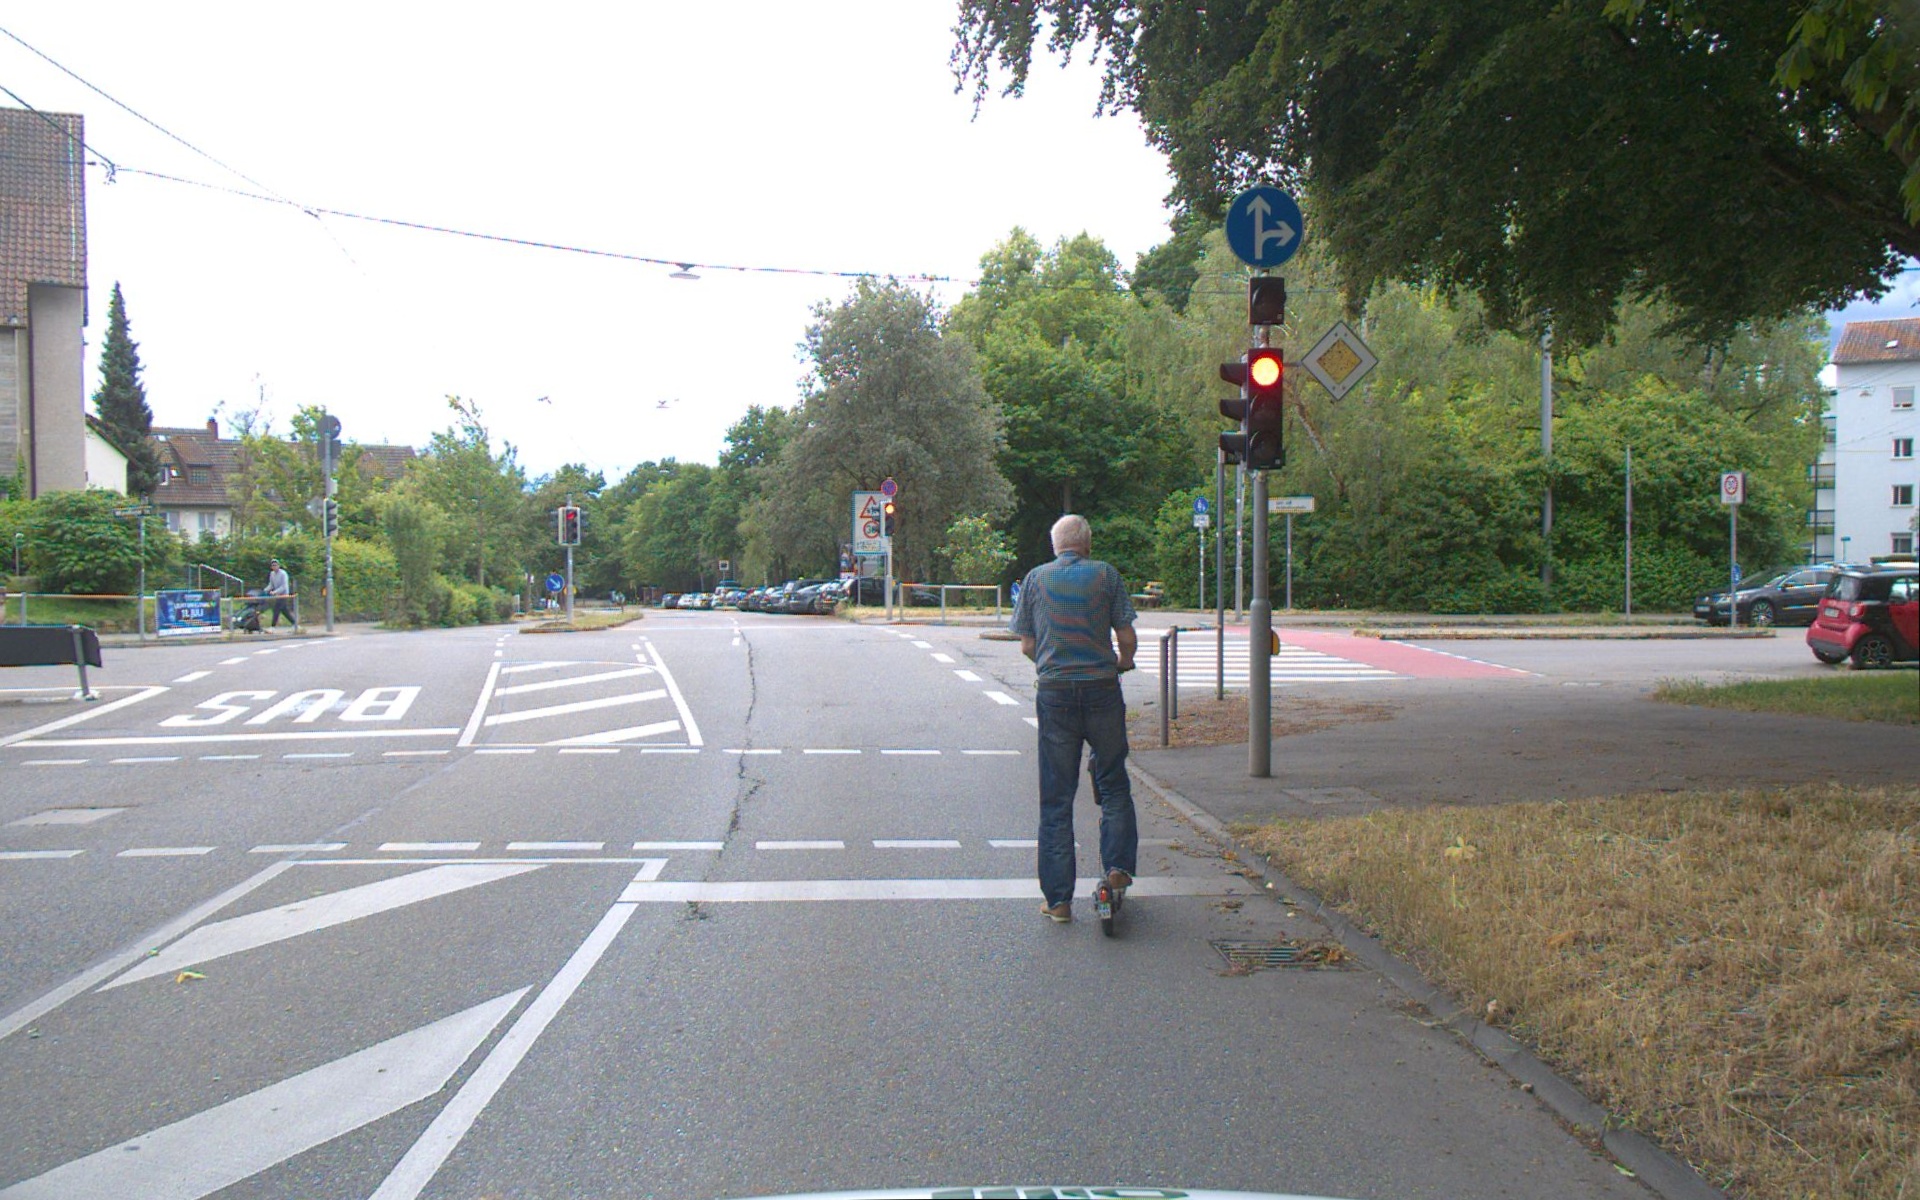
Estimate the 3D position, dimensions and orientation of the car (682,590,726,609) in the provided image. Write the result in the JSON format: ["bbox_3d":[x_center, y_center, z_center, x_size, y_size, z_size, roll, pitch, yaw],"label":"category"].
[{"bbox_3d":[-24.123,-0.064,155.835,3.790,1.639,1.716,-2,1,-24],"label":"car"}]

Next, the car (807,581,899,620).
[{"bbox_3d":[-4.852,0.013,74.713,3.787,1.639,1.717,-2,1,-22],"label":"car"}]

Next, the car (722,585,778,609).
[{"bbox_3d":[-15.442,-0.227,121.658,3.790,1.639,1.716,-2,1,-24],"label":"car"}]

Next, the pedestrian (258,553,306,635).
[{"bbox_3d":[-15.808,-0.139,38.597,0.560,1.895,0.887,-1,0,19],"label":"pedestrian"}]

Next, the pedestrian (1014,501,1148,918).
[{"bbox_3d":[0.560,0.486,7.566,0.560,1.845,0.421,-1,0,7],"label":"pedestrian"}]

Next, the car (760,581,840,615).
[{"bbox_3d":[-8.370,-0.130,86.521,3.790,1.639,1.716,-2,1,-24],"label":"car"}]

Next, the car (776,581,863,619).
[{"bbox_3d":[-6.731,-0.013,79.197,3.790,1.639,1.716,-2,1,-24],"label":"car"}]

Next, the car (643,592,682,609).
[{"bbox_3d":[-31.934,0.070,177.484,3.790,1.639,1.716,-2,1,-24],"label":"car"}]

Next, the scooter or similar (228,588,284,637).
[{"bbox_3d":[-16.071,0.278,37.761,0.564,1.100,1.111,-1,1,20],"label":"scooter or similar"}]

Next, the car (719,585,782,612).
[{"bbox_3d":[-13.786,-0.089,108.714,3.790,1.639,1.716,-2,1,-24],"label":"car"}]

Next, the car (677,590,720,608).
[{"bbox_3d":[-25.054,-0.091,158.391,3.790,1.639,1.716,-2,1,-24],"label":"car"}]

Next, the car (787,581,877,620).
[{"bbox_3d":[-5.937,0.006,76.668,3.792,1.639,1.715,-2,1,-25],"label":"car"}]

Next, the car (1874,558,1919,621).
[{"bbox_3d":[26.396,-0.336,45.816,1.689,1.639,3.850,-1,1,27],"label":"car"}]

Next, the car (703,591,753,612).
[{"bbox_3d":[-19.462,0.117,138.793,3.790,1.639,1.716,-2,1,-24],"label":"car"}]

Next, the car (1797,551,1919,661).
[{"bbox_3d":[15.246,0.047,25.834,3.444,1.639,1.729,-2,1,4],"label":"car"}]

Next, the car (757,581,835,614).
[{"bbox_3d":[-8.809,-0.144,88.927,3.790,1.639,1.716,-2,1,-24],"label":"car"}]

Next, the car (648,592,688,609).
[{"bbox_3d":[-30.925,0.011,175.162,3.790,1.639,1.716,-2,1,-24],"label":"car"}]

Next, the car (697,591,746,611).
[{"bbox_3d":[-20.556,0.085,142.451,3.790,1.639,1.716,-2,1,-24],"label":"car"}]

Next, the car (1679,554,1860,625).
[{"bbox_3d":[19.145,-0.262,39.236,3.444,1.557,1.729,-2,1,5],"label":"car"}]

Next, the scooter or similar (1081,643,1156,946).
[{"bbox_3d":[0.722,0.816,7.392,0.276,1.199,1.178,-1,1,7],"label":"scooter or similar"}]

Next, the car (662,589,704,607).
[{"bbox_3d":[-27.693,-0.170,165.418,3.790,1.639,1.716,-2,1,-24],"label":"car"}]

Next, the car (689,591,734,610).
[{"bbox_3d":[-23.063,0.009,153.718,3.790,1.639,1.716,-2,1,-24],"label":"car"}]
